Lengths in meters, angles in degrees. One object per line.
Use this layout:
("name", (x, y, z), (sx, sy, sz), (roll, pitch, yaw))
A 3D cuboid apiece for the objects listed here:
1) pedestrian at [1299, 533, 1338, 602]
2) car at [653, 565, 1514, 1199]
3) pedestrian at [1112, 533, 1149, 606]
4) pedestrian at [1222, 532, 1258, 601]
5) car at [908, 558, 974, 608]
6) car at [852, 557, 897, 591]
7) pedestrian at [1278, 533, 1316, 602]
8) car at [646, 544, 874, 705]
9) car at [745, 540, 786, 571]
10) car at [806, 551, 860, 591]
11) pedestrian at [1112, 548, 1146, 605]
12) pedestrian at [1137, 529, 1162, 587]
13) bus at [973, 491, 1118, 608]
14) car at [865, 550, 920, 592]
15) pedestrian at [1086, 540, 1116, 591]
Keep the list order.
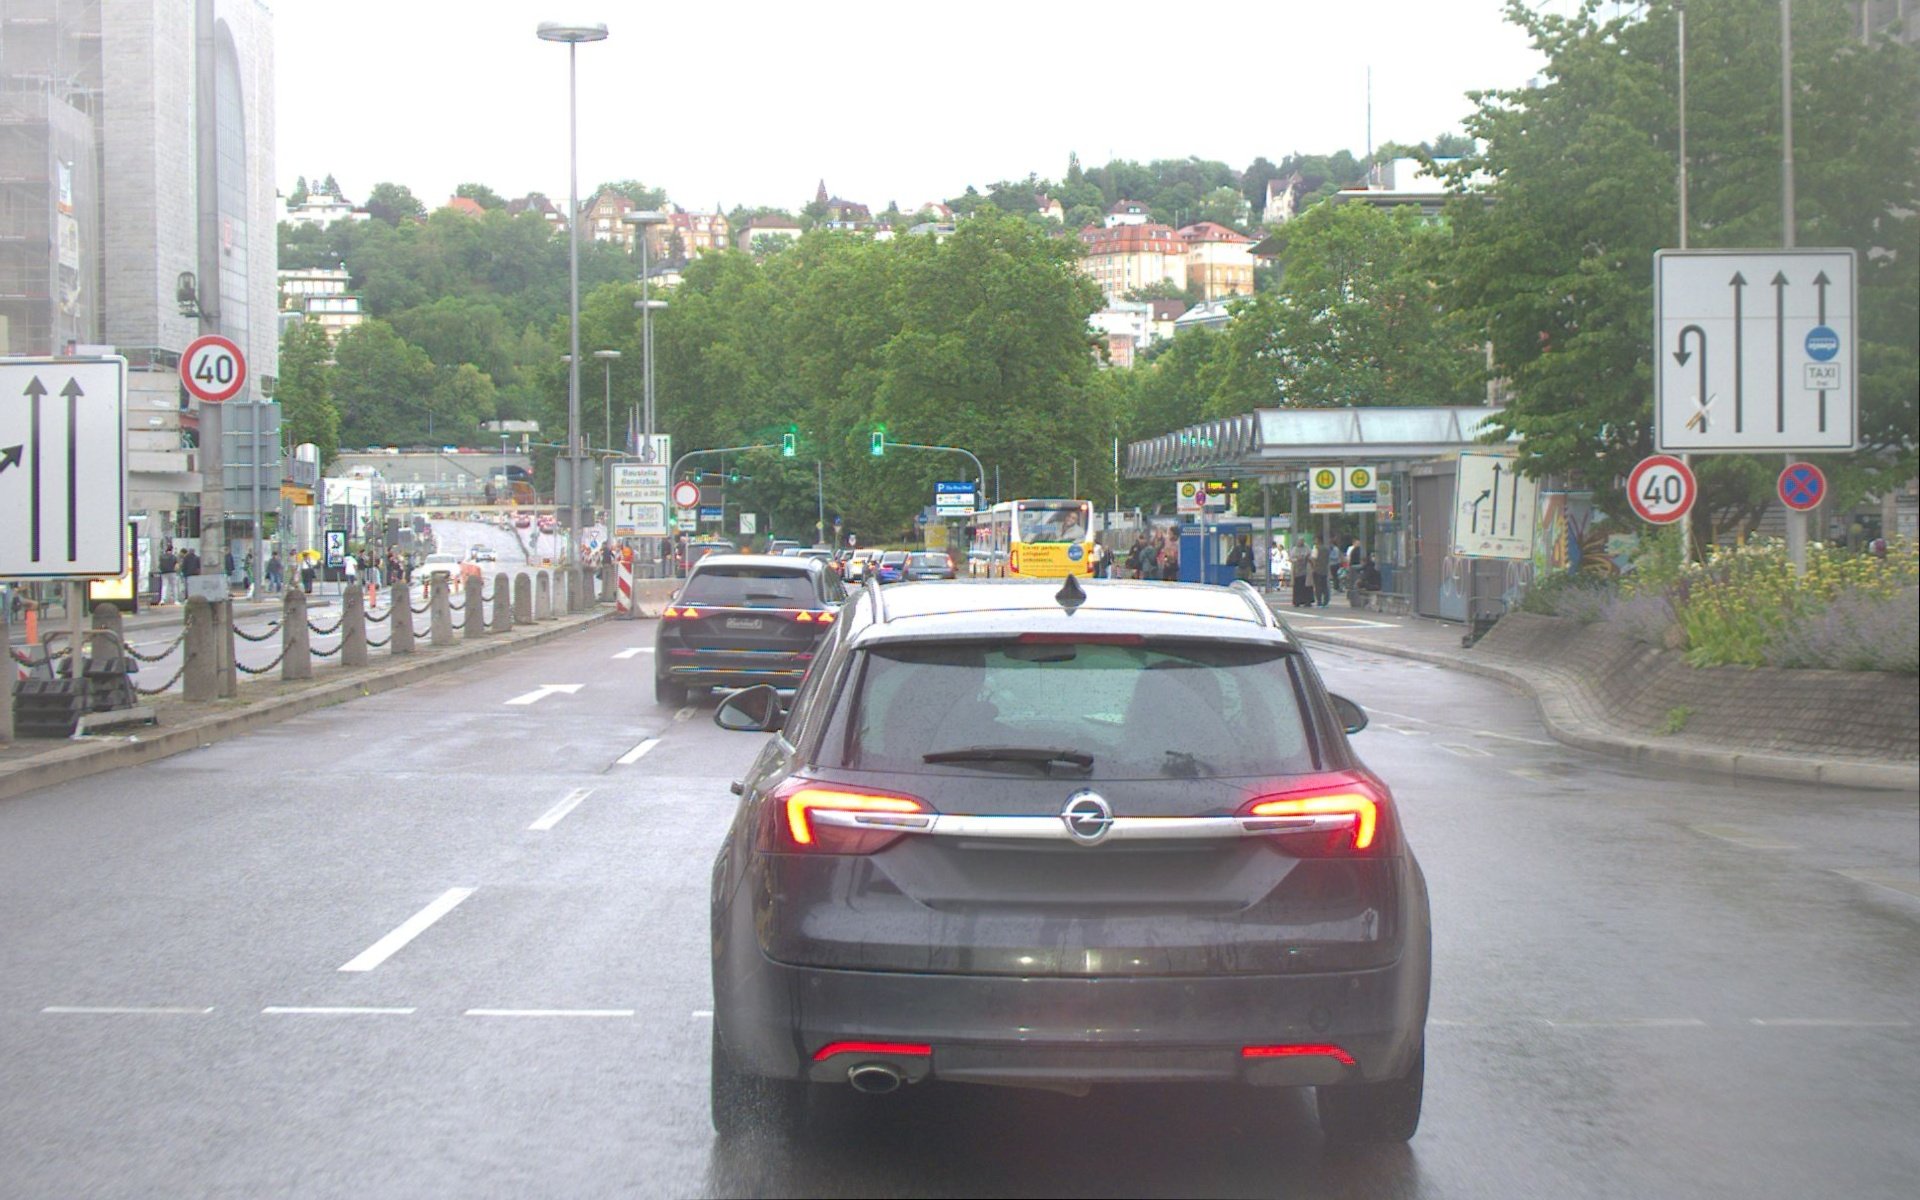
("pedestrian", (8.778, -0.794, 84.192), (0.763, 1.684, 0.825), (1, 0, -4))
("car", (0.246, 0.680, 9.588), (1.874, 1.481, 4.000), (1, 0, -1))
("pedestrian", (5.804, -1.030, 117.031), (1.199, 2.427, 1.228), (1, 0, 1))
("pedestrian", (6.983, -0.831, 85.748), (0.763, 1.684, 0.825), (1, 0, -4))
("car", (-0.543, -0.473, 99.887), (1.845, 1.393, 3.667), (1, 0, 0))
("car", (-3.656, -1.110, 147.021), (1.845, 1.393, 3.564), (1, 1, 0))
("pedestrian", (8.372, -0.803, 85.381), (0.763, 1.684, 0.825), (1, 0, -4))
("car", (-1.924, 0.231, 34.330), (1.855, 1.464, 4.587), (1, 0, 2))
("car", (-9.206, -2.083, 162.785), (1.759, 1.393, 3.564), (1, 0, 0))
("car", (-4.611, -1.059, 125.237), (1.845, 1.393, 3.564), (1, 0, 0))
("pedestrian", (6.406, -0.881, 130.208), (1.199, 2.142, 1.228), (1, 0, 1))
("pedestrian", (5.532, -1.222, 100.411), (0.657, 1.684, 0.609), (1, 0, 0))
("bus", (2.594, -1.521, 110.816), (4.173, 3.457, 14.654), (1, 0, 0))
("car", (-2.358, -1.003, 119.769), (1.753, 1.393, 4.649), (1, 0, -3))
("pedestrian", (5.972, -1.467, 146.091), (1.199, 2.142, 1.228), (1, 0, 1))
